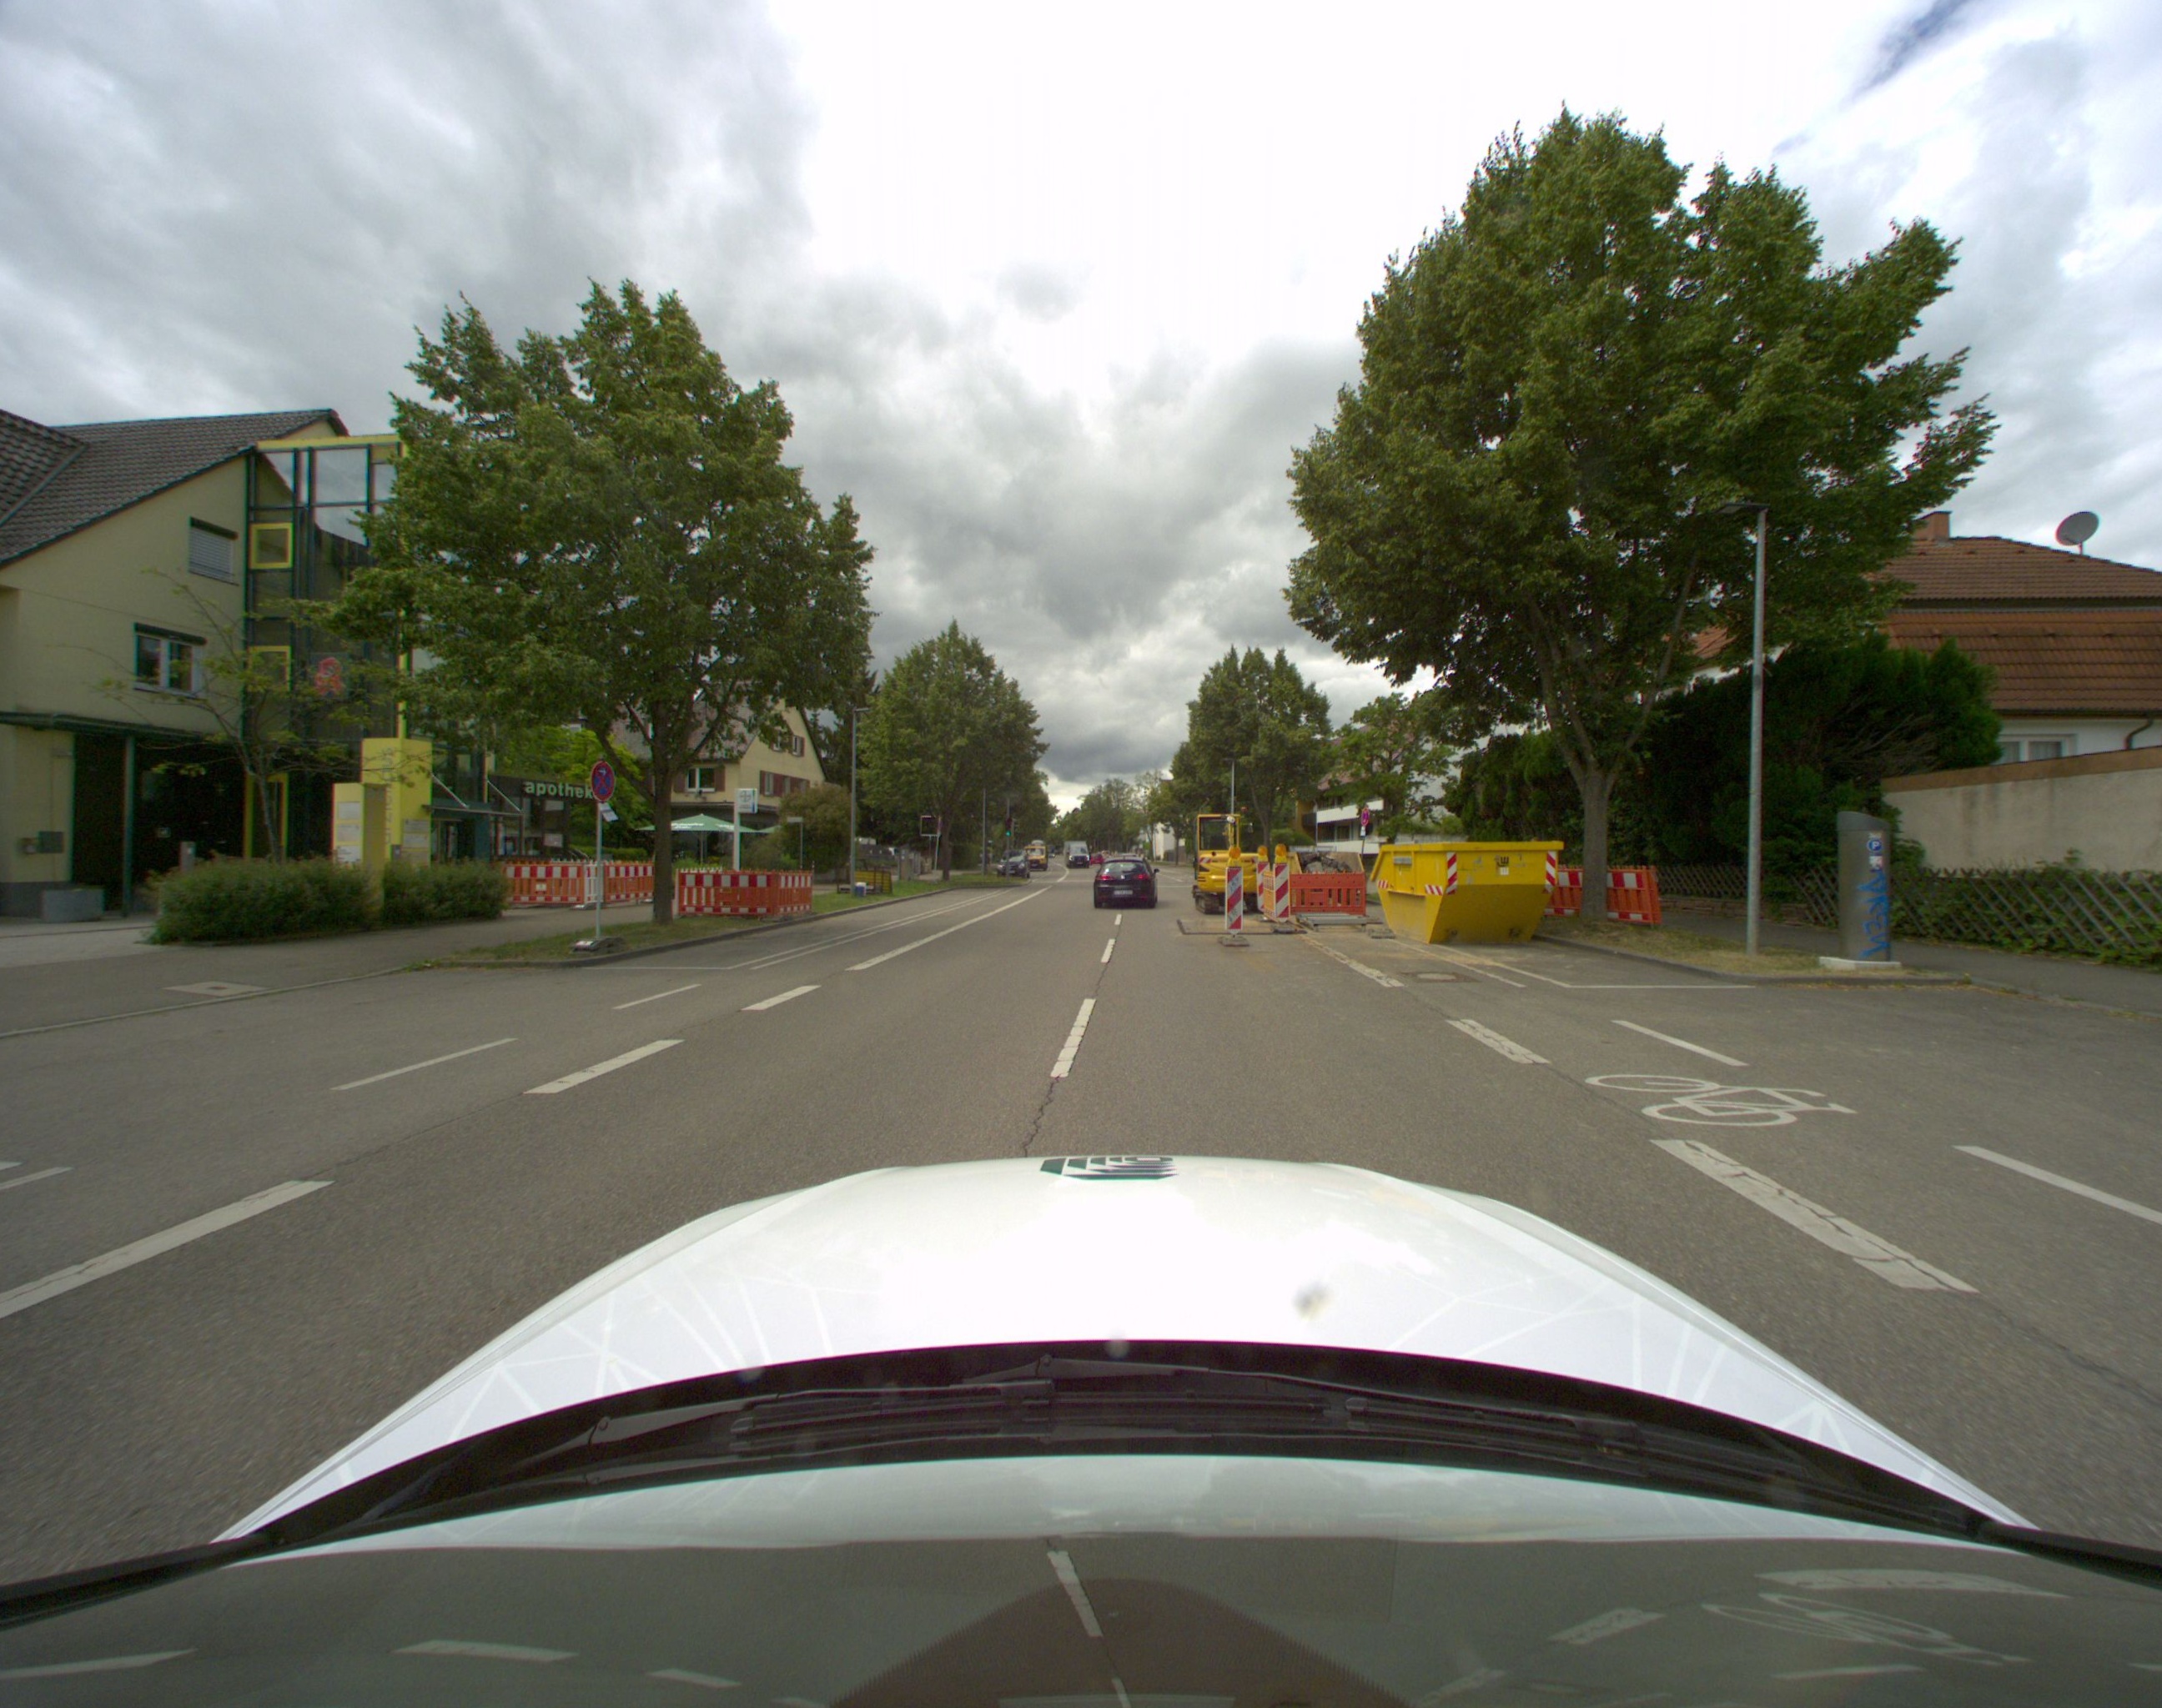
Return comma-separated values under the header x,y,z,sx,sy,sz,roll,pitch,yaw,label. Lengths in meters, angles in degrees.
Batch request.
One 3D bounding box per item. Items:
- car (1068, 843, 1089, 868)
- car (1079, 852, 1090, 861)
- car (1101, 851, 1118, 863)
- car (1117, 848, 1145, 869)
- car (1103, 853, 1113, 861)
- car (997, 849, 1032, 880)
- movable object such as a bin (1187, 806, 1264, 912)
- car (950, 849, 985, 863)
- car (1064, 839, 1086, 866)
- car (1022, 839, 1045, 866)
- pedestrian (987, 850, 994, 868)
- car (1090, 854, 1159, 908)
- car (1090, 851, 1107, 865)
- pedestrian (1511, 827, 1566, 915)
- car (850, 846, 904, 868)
x,y,z,sx,sy,sz,roll,pitch,yaw,label
-0.193,0.122,82.200,2.022,2.385,5.262,-1,0,1,car
0.601,0.354,131.077,1.804,1.375,3.693,0,0,0,car
3.600,0.357,103.858,1.806,1.415,3.689,0,0,-3,car
4.168,0.387,68.257,1.901,1.685,3.735,-1,0,-3,car
4.805,0.526,145.511,1.802,1.415,3.696,0,0,3,car
-4.024,0.609,49.902,1.661,1.772,4.468,-1,0,1,car
3.771,0.122,21.708,1.759,2.574,3.746,0,0,6,movable object such as a bin
-13.012,0.195,93.387,3.671,1.594,1.678,0,0,0,car
-0.598,-0.135,88.385,2.280,2.792,7.144,-1,0,1,car
-4.770,-0.134,82.519,2.086,2.626,5.044,0,0,0,car
-9.160,0.513,82.306,0.593,1.741,0.574,0,0,-1,pedestrian
1.360,0.742,24.014,1.810,1.437,3.746,-1,0,6,car
2.088,0.469,98.690,1.787,1.623,3.736,-1,0,-3,car
8.640,0.316,15.411,0.701,1.634,0.644,-1,0,5,pedestrian
-17.092,0.254,68.210,3.965,1.769,1.749,0,0,7,car
